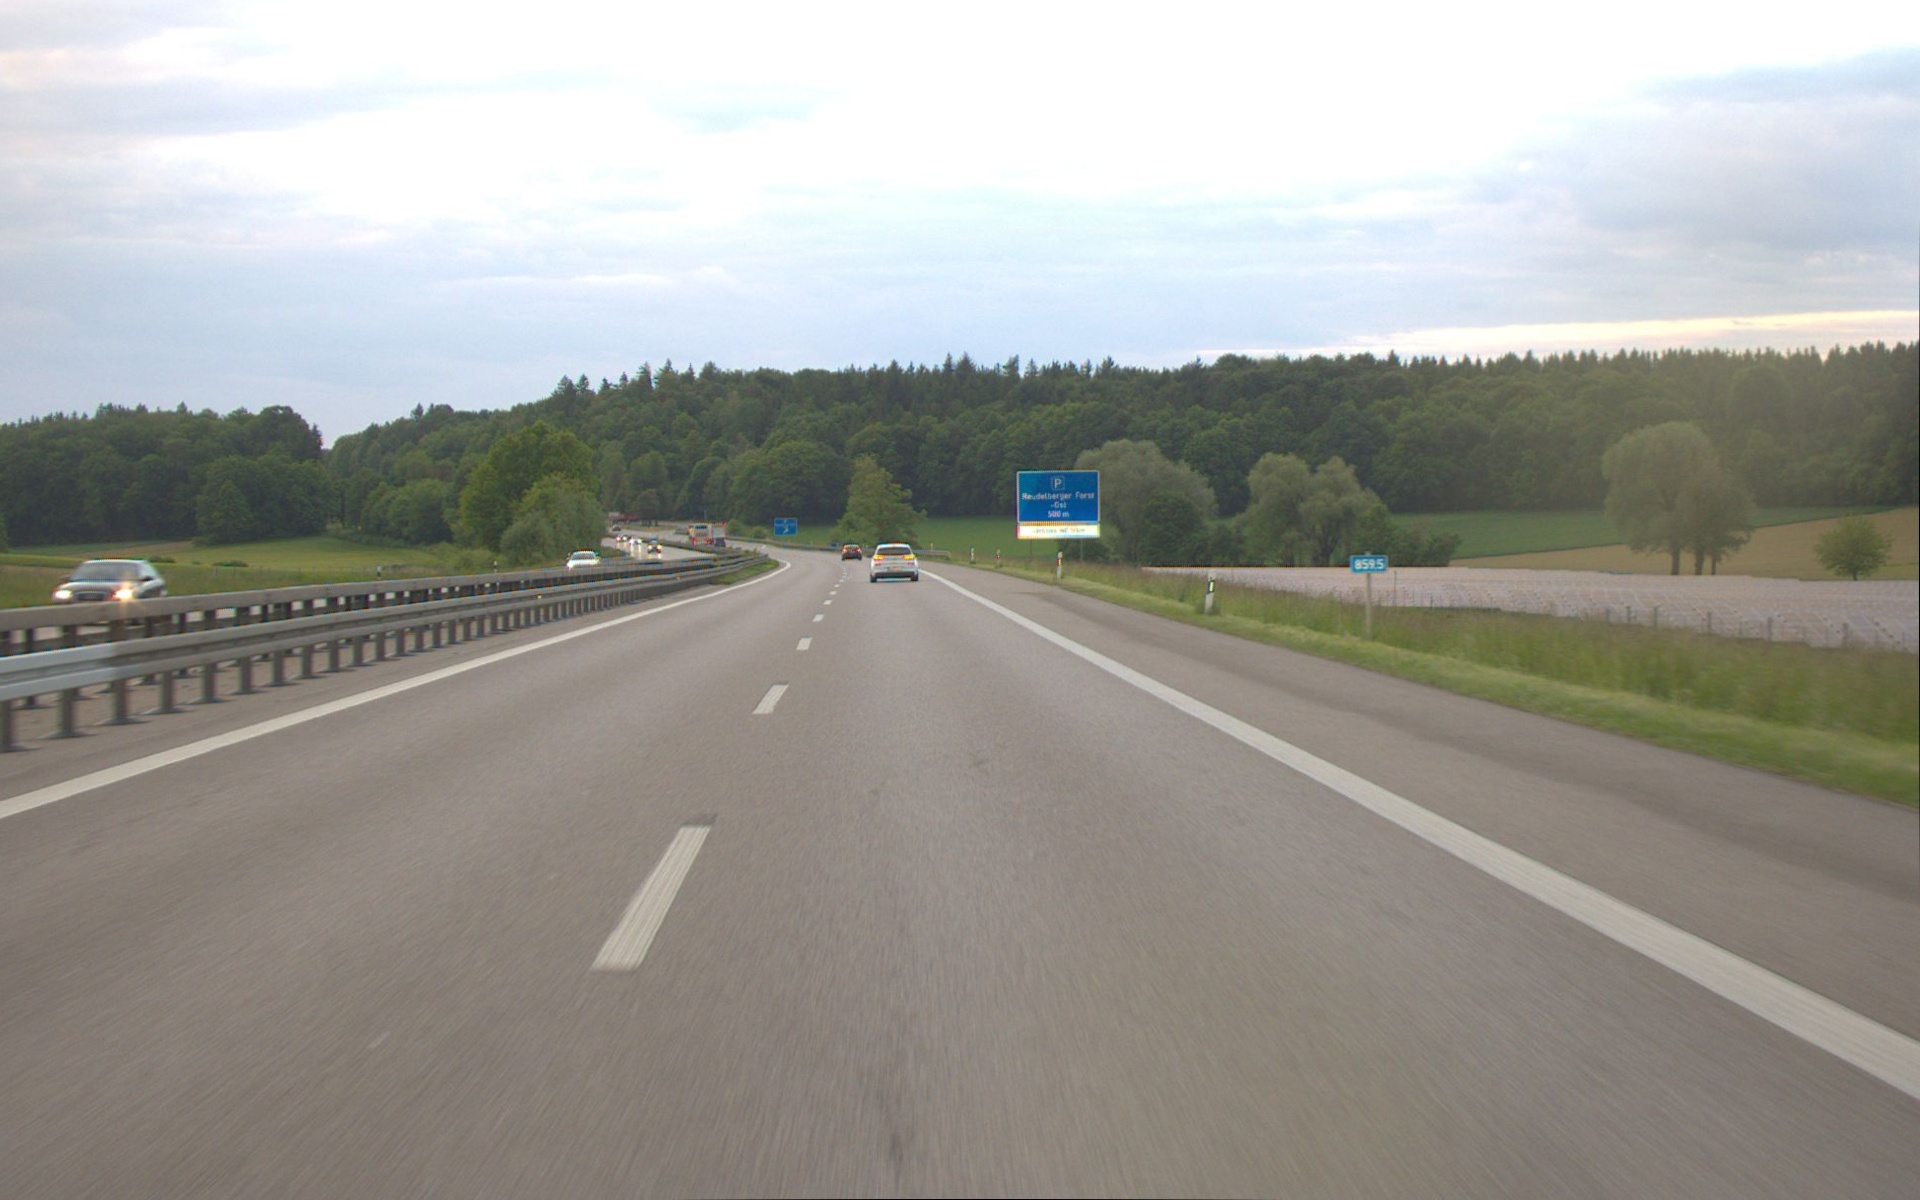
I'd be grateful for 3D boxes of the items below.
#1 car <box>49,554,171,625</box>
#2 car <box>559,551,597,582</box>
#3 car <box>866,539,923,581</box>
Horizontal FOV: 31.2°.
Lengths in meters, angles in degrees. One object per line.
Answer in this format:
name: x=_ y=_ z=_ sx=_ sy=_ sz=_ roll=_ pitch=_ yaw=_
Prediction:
car: x=-17.950 y=-0.250 z=72.723 sx=1.673 sy=1.356 sz=4.011 roll=2 pitch=1 yaw=-2
car: x=-22.519 y=-1.986 z=202.729 sx=1.790 sy=1.693 sz=4.590 roll=1 pitch=1 yaw=-1
car: x=-2.516 y=-1.540 z=131.060 sx=1.951 sy=1.526 sz=4.081 roll=1 pitch=1 yaw=-4
